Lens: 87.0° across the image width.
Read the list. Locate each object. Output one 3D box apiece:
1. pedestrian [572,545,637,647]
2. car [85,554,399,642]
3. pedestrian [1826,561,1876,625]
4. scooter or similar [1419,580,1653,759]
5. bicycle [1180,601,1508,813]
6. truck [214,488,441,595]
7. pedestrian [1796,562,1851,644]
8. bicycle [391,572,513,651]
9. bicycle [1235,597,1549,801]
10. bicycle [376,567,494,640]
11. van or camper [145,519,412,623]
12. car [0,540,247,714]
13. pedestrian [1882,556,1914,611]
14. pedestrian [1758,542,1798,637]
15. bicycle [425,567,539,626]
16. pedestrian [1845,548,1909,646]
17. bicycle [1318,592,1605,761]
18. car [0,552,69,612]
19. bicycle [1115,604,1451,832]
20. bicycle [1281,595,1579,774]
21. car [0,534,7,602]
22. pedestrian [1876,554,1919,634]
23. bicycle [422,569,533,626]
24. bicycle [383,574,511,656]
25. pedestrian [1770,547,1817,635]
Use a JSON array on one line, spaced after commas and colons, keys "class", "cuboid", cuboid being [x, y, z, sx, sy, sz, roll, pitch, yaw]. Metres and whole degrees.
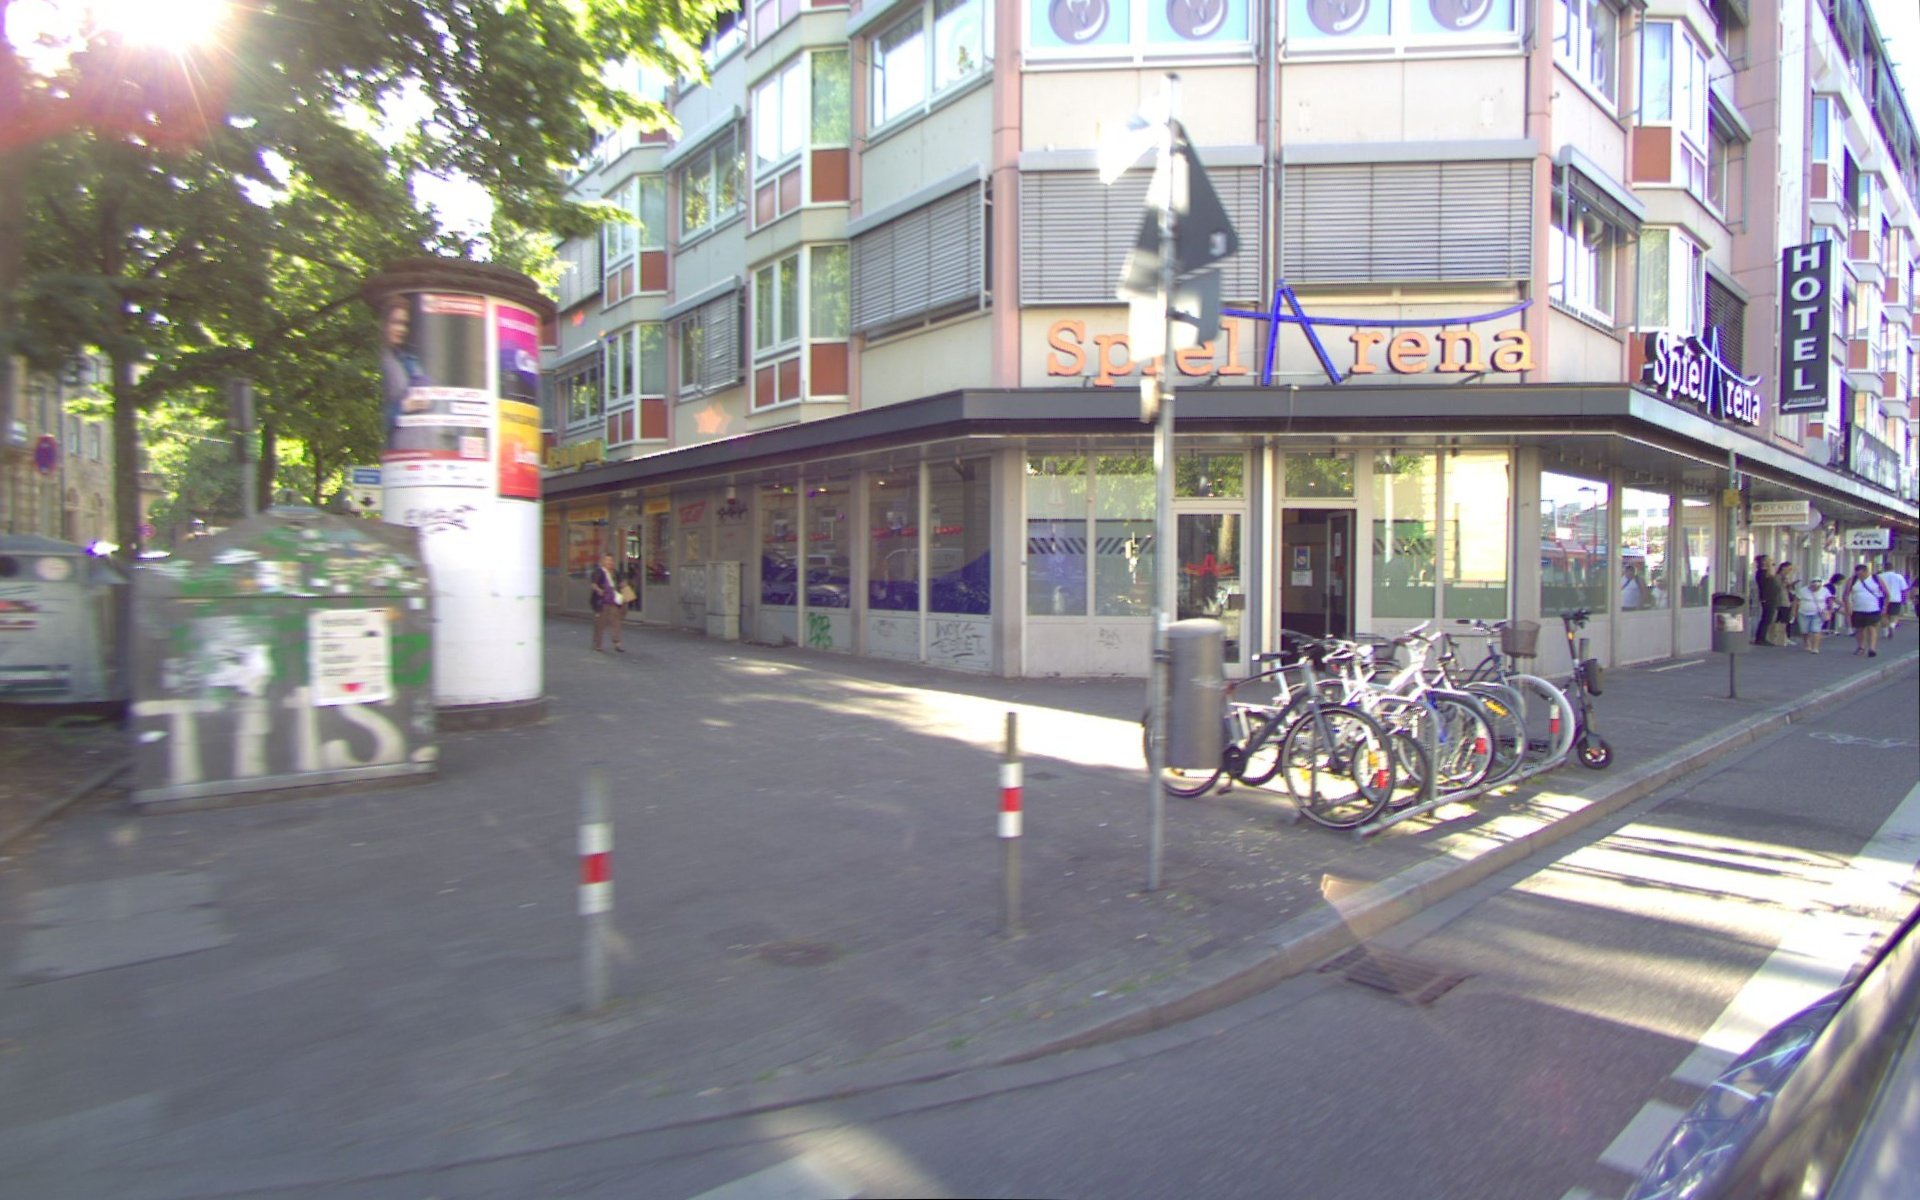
[{"class": "pedestrian", "cuboid": [-5.723, -0.082, 16.307, 0.817, 1.593, 0.688, -1, 2, -36]}, {"class": "car", "cuboid": [-12.909, -0.102, 18.597, 4.370, 1.419, 1.932, -2, 2, -24]}, {"class": "pedestrian", "cuboid": [21.739, -0.181, 24.693, 0.694, 1.490, 0.740, -2, 4, -40]}, {"class": "scooter or similar", "cuboid": [4.562, 0.493, 8.098, 0.581, 1.244, 1.482, -1, 4, -40]}, {"class": "bicycle", "cuboid": [2.403, 0.601, 6.568, 0.554, 1.120, 1.948, -1, 2, -42]}, {"class": "truck", "cuboid": [-18.550, -1.711, 30.089, 5.464, 2.948, 2.107, -1, 2, -26]}, {"class": "pedestrian", "cuboid": [16.341, 0.040, 19.160, 0.643, 1.501, 0.637, -2, 4, -42]}, {"class": "bicycle", "cuboid": [-7.887, 0.154, 15.774, 1.660, 1.152, 0.702, -1, 2, -26]}, {"class": "bicycle", "cuboid": [2.944, 0.600, 7.087, 0.617, 1.180, 1.948, -2, 2, -42]}, {"class": "bicycle", "cuboid": [-8.716, 0.034, 16.821, 1.662, 1.152, 0.678, -2, 2, -35]}, {"class": "van or camper", "cuboid": [-15.221, -0.680, 22.953, 4.637, 2.165, 2.095, -1, 2, -21]}, {"class": "car", "cuboid": [-9.771, 0.239, 10.178, 3.918, 1.622, 2.004, -2, 2, -25]}, {"class": "pedestrian", "cuboid": [27.903, -0.493, 30.107, 0.544, 1.609, 0.601, -1, 2, -41]}, {"class": "pedestrian", "cuboid": [16.355, -0.223, 20.230, 0.798, 1.872, 0.451, -2, 3, -42]}, {"class": "bicycle", "cuboid": [-9.505, -0.096, 20.183, 1.950, 1.121, 0.648, -2, 2, -41]}, {"class": "pedestrian", "cuboid": [16.971, -0.062, 18.730, 0.800, 1.749, 0.745, -2, 0, -40]}, {"class": "bicycle", "cuboid": [3.856, 0.524, 7.936, 0.554, 1.120, 1.948, -1, 2, -42]}, {"class": "car", "cuboid": [-27.025, -0.514, 28.533, 1.793, 1.584, 4.017, -3, 3, -26]}, {"class": "bicycle", "cuboid": [1.883, 0.622, 6.193, 0.554, 1.120, 1.948, -1, 2, -42]}, {"class": "bicycle", "cuboid": [3.413, 0.549, 7.526, 0.554, 1.120, 1.948, -1, 2, -42]}, {"class": "car", "cuboid": [-24.411, -0.724, 23.750, 1.793, 1.722, 4.017, -3, 3, -26]}, {"class": "pedestrian", "cuboid": [22.305, -0.159, 23.981, 0.750, 1.842, 0.707, -2, 4, -42]}, {"class": "bicycle", "cuboid": [-9.902, -0.078, 20.810, 1.950, 1.121, 0.673, -2, 2, -41]}, {"class": "bicycle", "cuboid": [-7.593, 0.196, 15.041, 1.660, 1.152, 0.599, -1, 2, -26]}, {"class": "pedestrian", "cuboid": [17.268, -0.205, 20.962, 0.492, 1.791, 0.630, -1, 3, -40]}]
